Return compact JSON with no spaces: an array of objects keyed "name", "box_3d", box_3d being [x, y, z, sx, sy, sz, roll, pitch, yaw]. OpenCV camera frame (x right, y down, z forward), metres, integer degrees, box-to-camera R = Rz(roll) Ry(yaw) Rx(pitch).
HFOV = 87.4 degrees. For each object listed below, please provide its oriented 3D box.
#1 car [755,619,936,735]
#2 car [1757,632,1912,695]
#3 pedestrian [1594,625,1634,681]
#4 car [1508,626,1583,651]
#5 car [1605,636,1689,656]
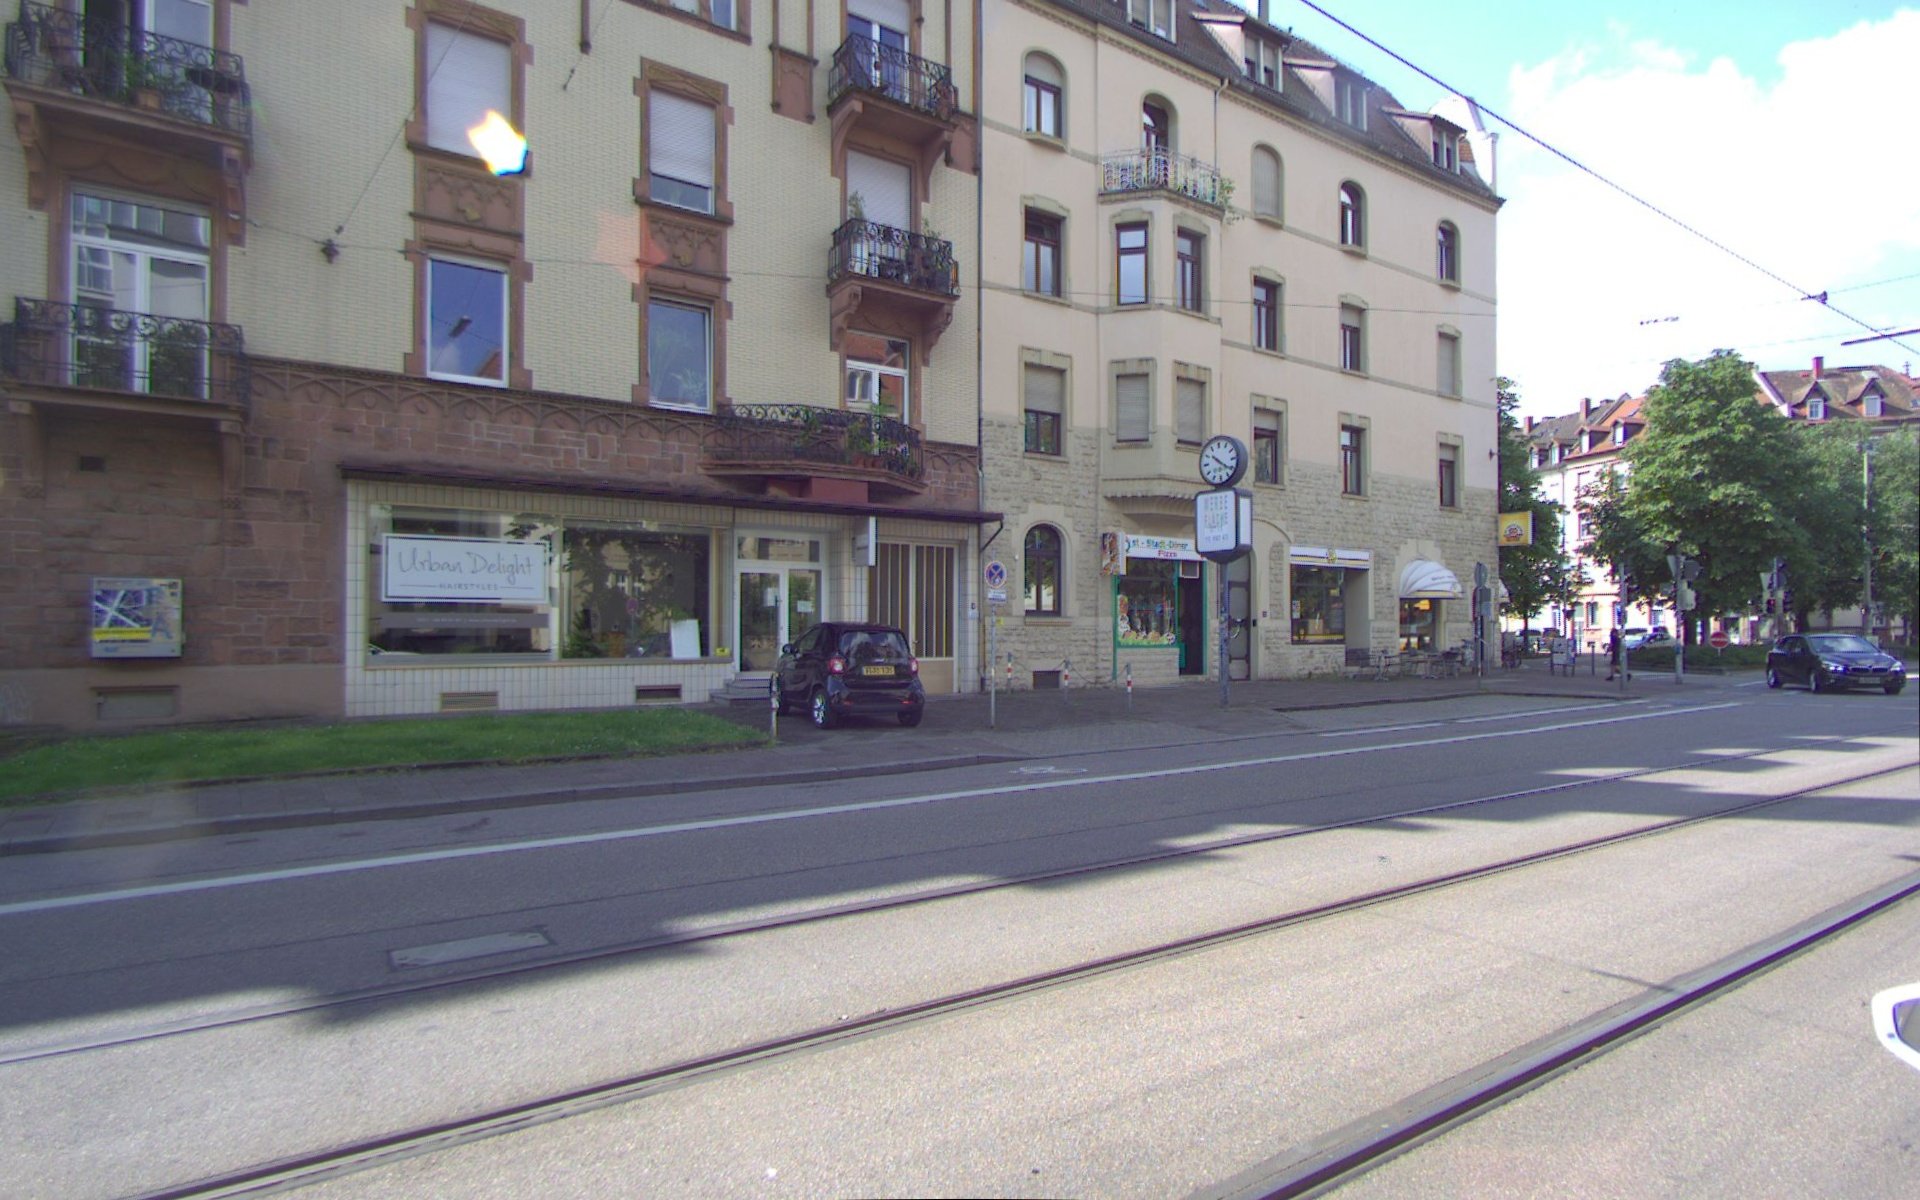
[{"name":"car","box_3d":[-1.897,1.127,15.919,1.716,1.505,3.163,1,1,-30]},{"name":"car","box_3d":[23.174,1.631,26.809,1.727,1.538,4.069,-1,-2,20]},{"name":"pedestrian","box_3d":[20.196,1.639,31.032,0.690,1.706,0.750,1,-2,-21]},{"name":"car","box_3d":[39.993,2.608,68.675,1.976,1.617,3.970,1,-2,-29]},{"name":"car","box_3d":[42.253,2.833,61.832,3.919,1.198,1.679,0,-2,4]}]
